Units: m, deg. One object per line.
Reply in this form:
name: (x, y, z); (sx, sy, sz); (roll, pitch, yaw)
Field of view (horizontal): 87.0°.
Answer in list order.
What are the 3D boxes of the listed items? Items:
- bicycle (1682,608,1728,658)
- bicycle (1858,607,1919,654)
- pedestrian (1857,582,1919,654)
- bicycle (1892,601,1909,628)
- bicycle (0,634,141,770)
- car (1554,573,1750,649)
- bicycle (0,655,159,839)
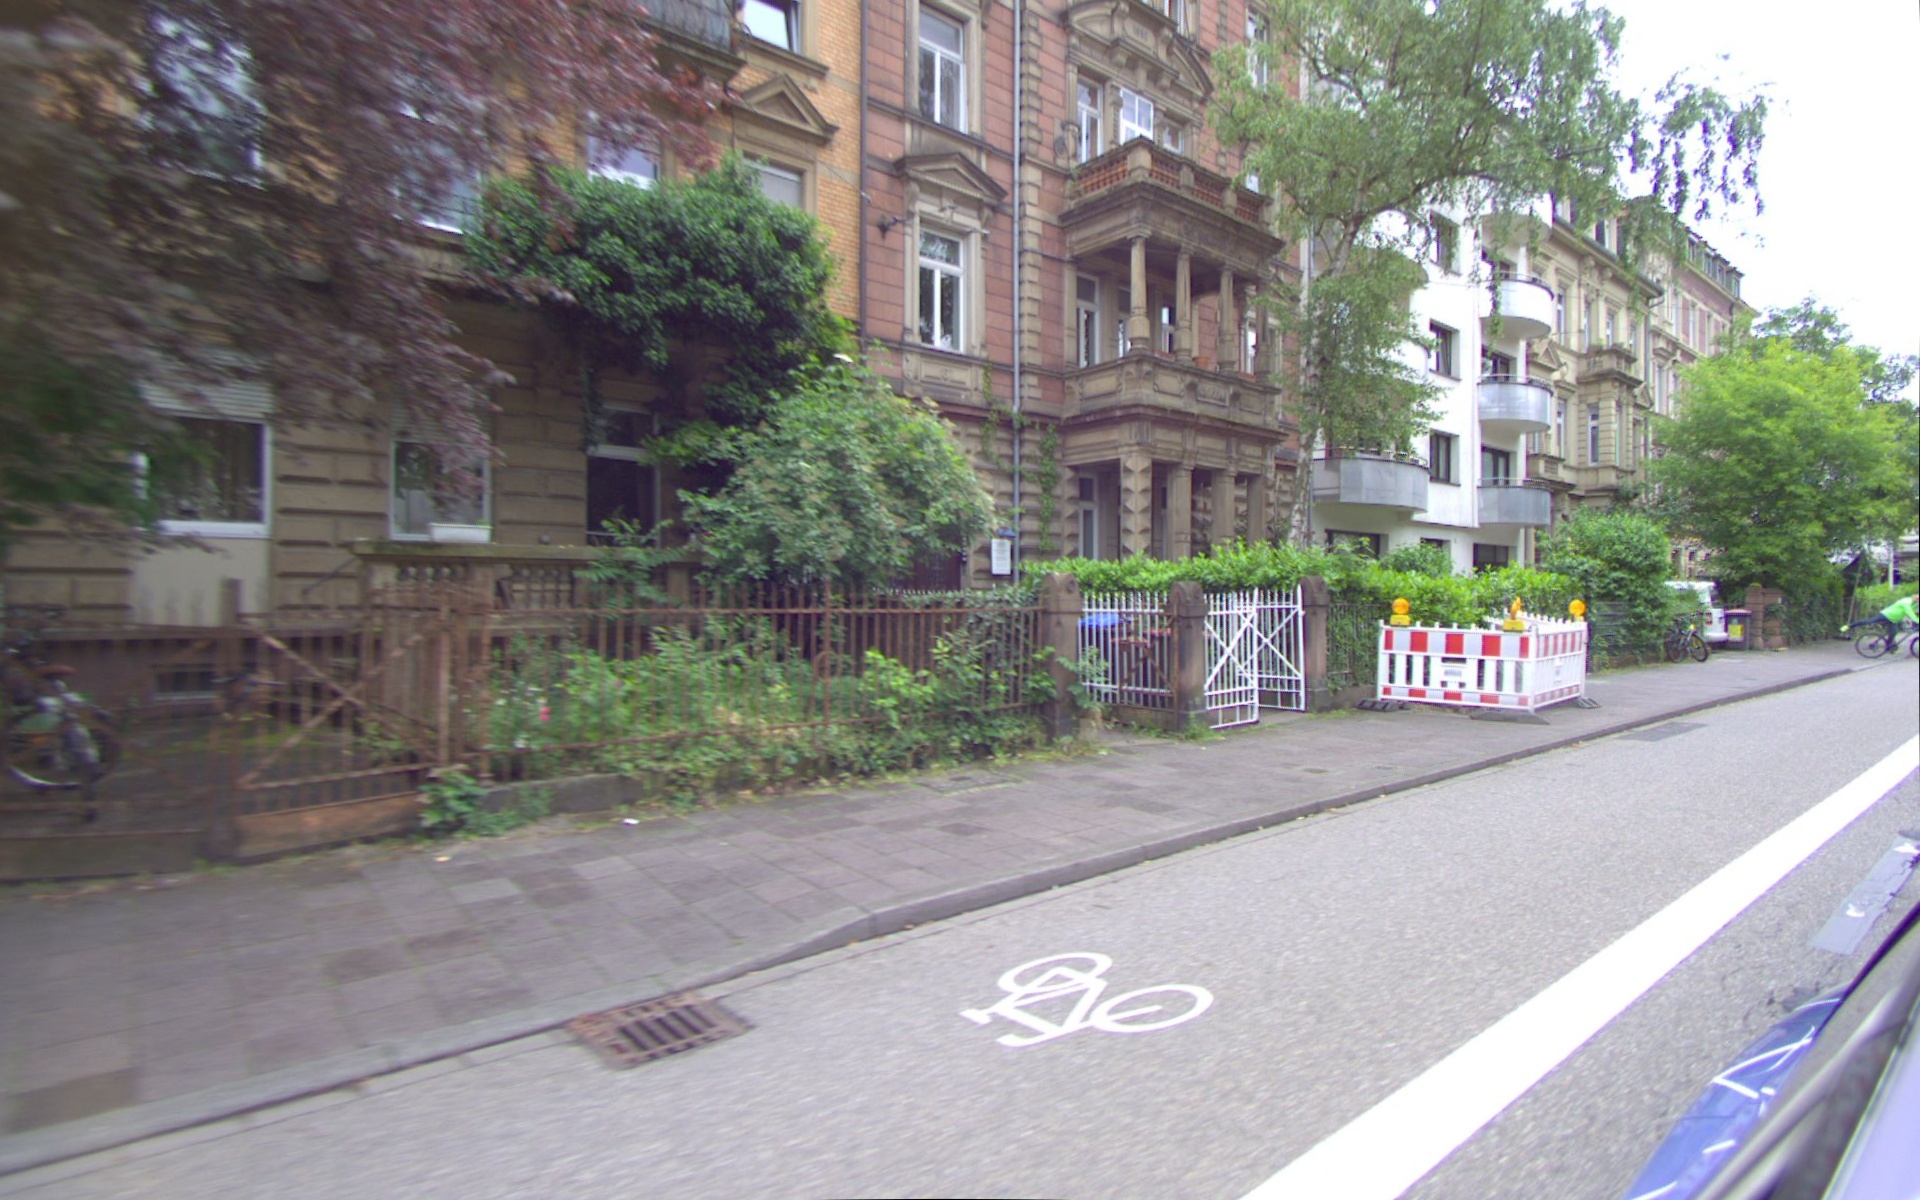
bicycle: (16.343, 0.710, 22.197); (1.504, 1.058, 0.480); (0, 0, -40)
bicycle: (24.325, 0.797, 25.949); (0.596, 1.089, 1.845); (0, 3, -41)
pedestrian: (24.231, 0.457, 26.253); (1.000, 1.754, 1.231); (0, 3, -41)
bicycle: (38.126, 0.574, 41.011); (1.816, 1.055, 0.302); (0, 0, -41)
bicycle: (-6.869, 0.730, 7.680); (1.529, 0.902, 0.566); (0, 0, 33)
car: (18.424, 0.230, 27.067); (1.776, 1.881, 3.995); (0, 1, -39)
bicycle: (-5.417, 0.838, 6.267); (0.544, 0.874, 1.623); (0, 1, -32)
